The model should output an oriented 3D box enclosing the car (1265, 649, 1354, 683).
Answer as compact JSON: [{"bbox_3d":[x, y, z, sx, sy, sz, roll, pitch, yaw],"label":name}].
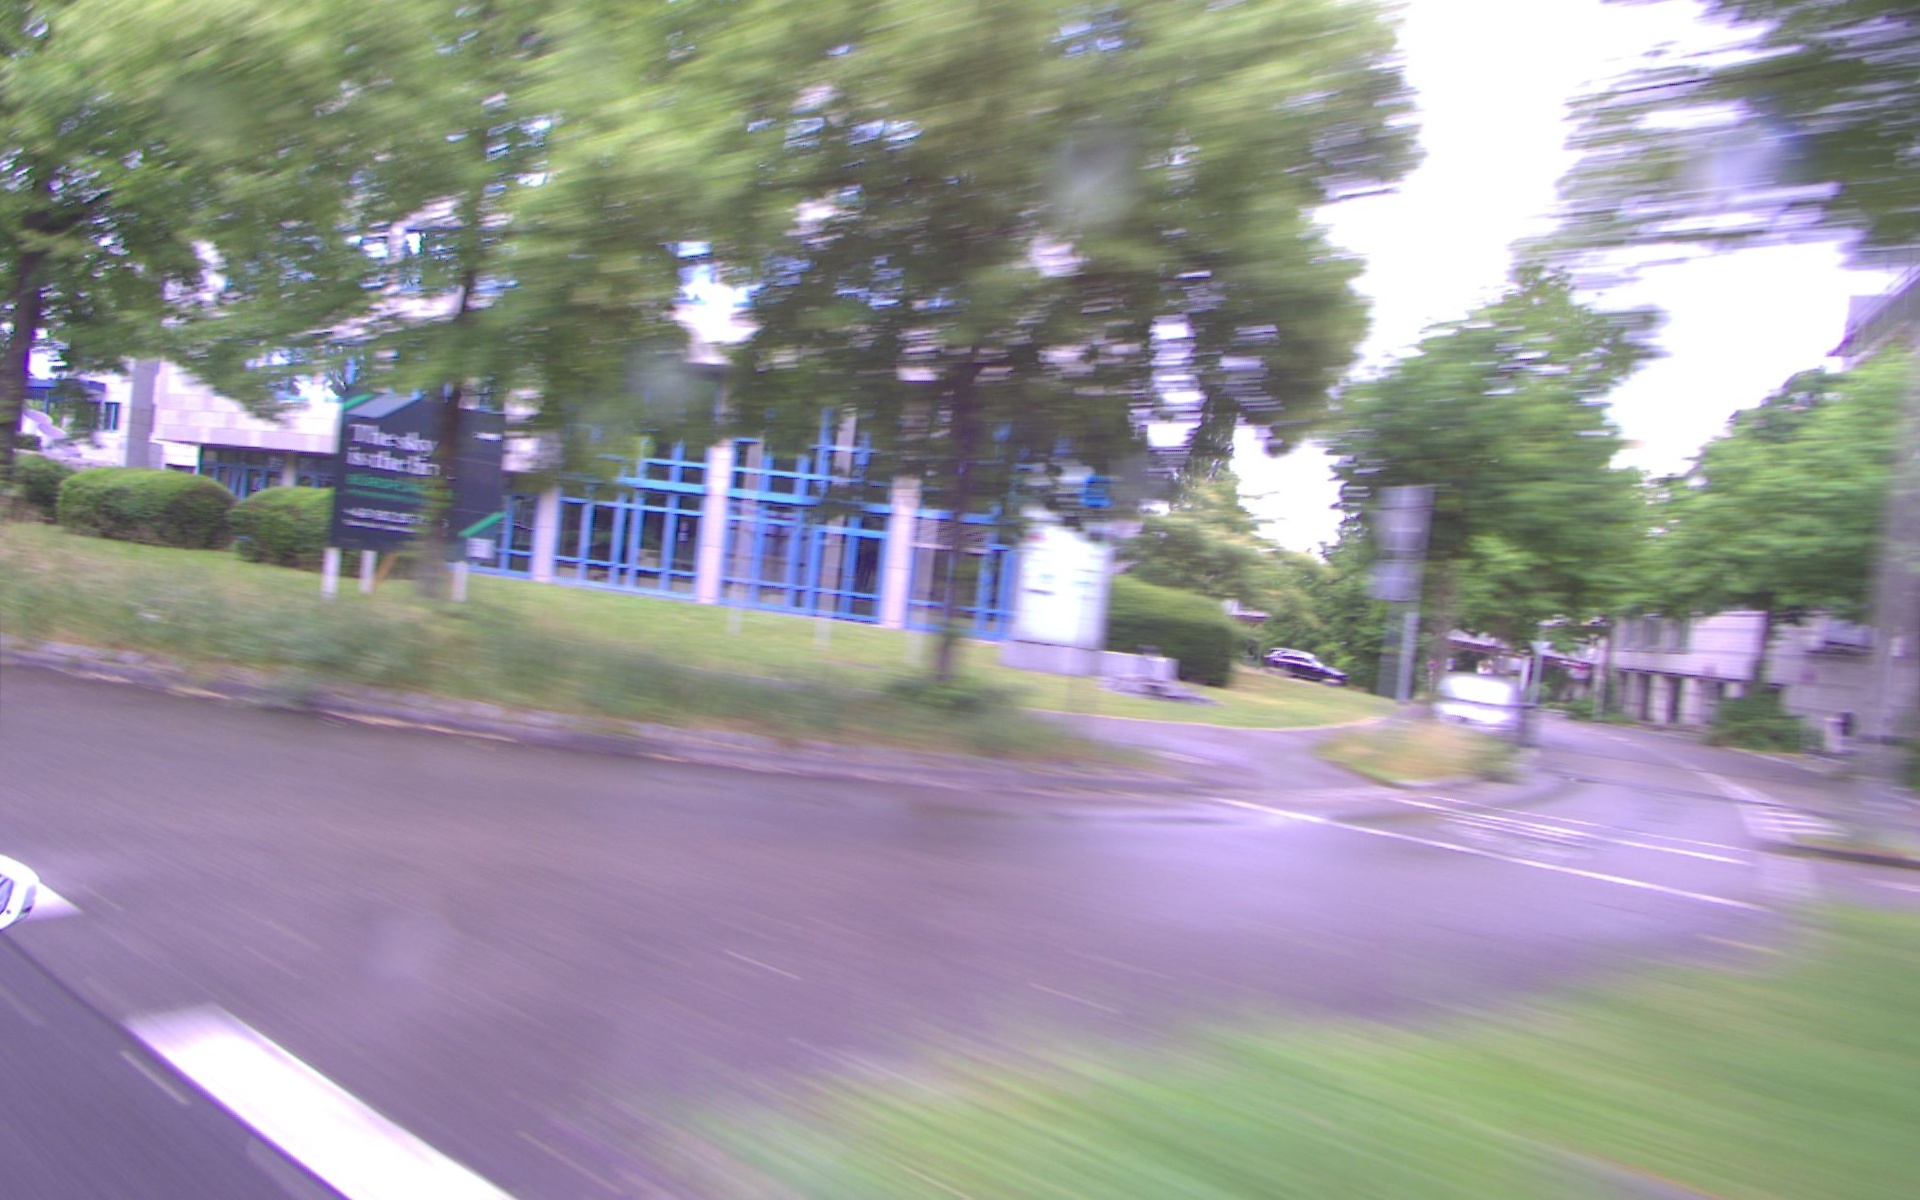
[{"bbox_3d":[20.682,3.892,59.558,4.560,1.418,1.750,6,-1,41],"label":"car"}]

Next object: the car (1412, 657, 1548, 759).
[{"bbox_3d":[10.904,2.197,20.956,1.730,1.663,4.096,9,1,36],"label":"car"}]

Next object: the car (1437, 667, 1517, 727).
[{"bbox_3d":[18.930,3.501,36.998,1.725,1.641,4.109,9,1,17],"label":"car"}]

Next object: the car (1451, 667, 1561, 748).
[{"bbox_3d":[13.817,2.648,25.327,1.730,1.598,4.096,9,1,36],"label":"car"}]
